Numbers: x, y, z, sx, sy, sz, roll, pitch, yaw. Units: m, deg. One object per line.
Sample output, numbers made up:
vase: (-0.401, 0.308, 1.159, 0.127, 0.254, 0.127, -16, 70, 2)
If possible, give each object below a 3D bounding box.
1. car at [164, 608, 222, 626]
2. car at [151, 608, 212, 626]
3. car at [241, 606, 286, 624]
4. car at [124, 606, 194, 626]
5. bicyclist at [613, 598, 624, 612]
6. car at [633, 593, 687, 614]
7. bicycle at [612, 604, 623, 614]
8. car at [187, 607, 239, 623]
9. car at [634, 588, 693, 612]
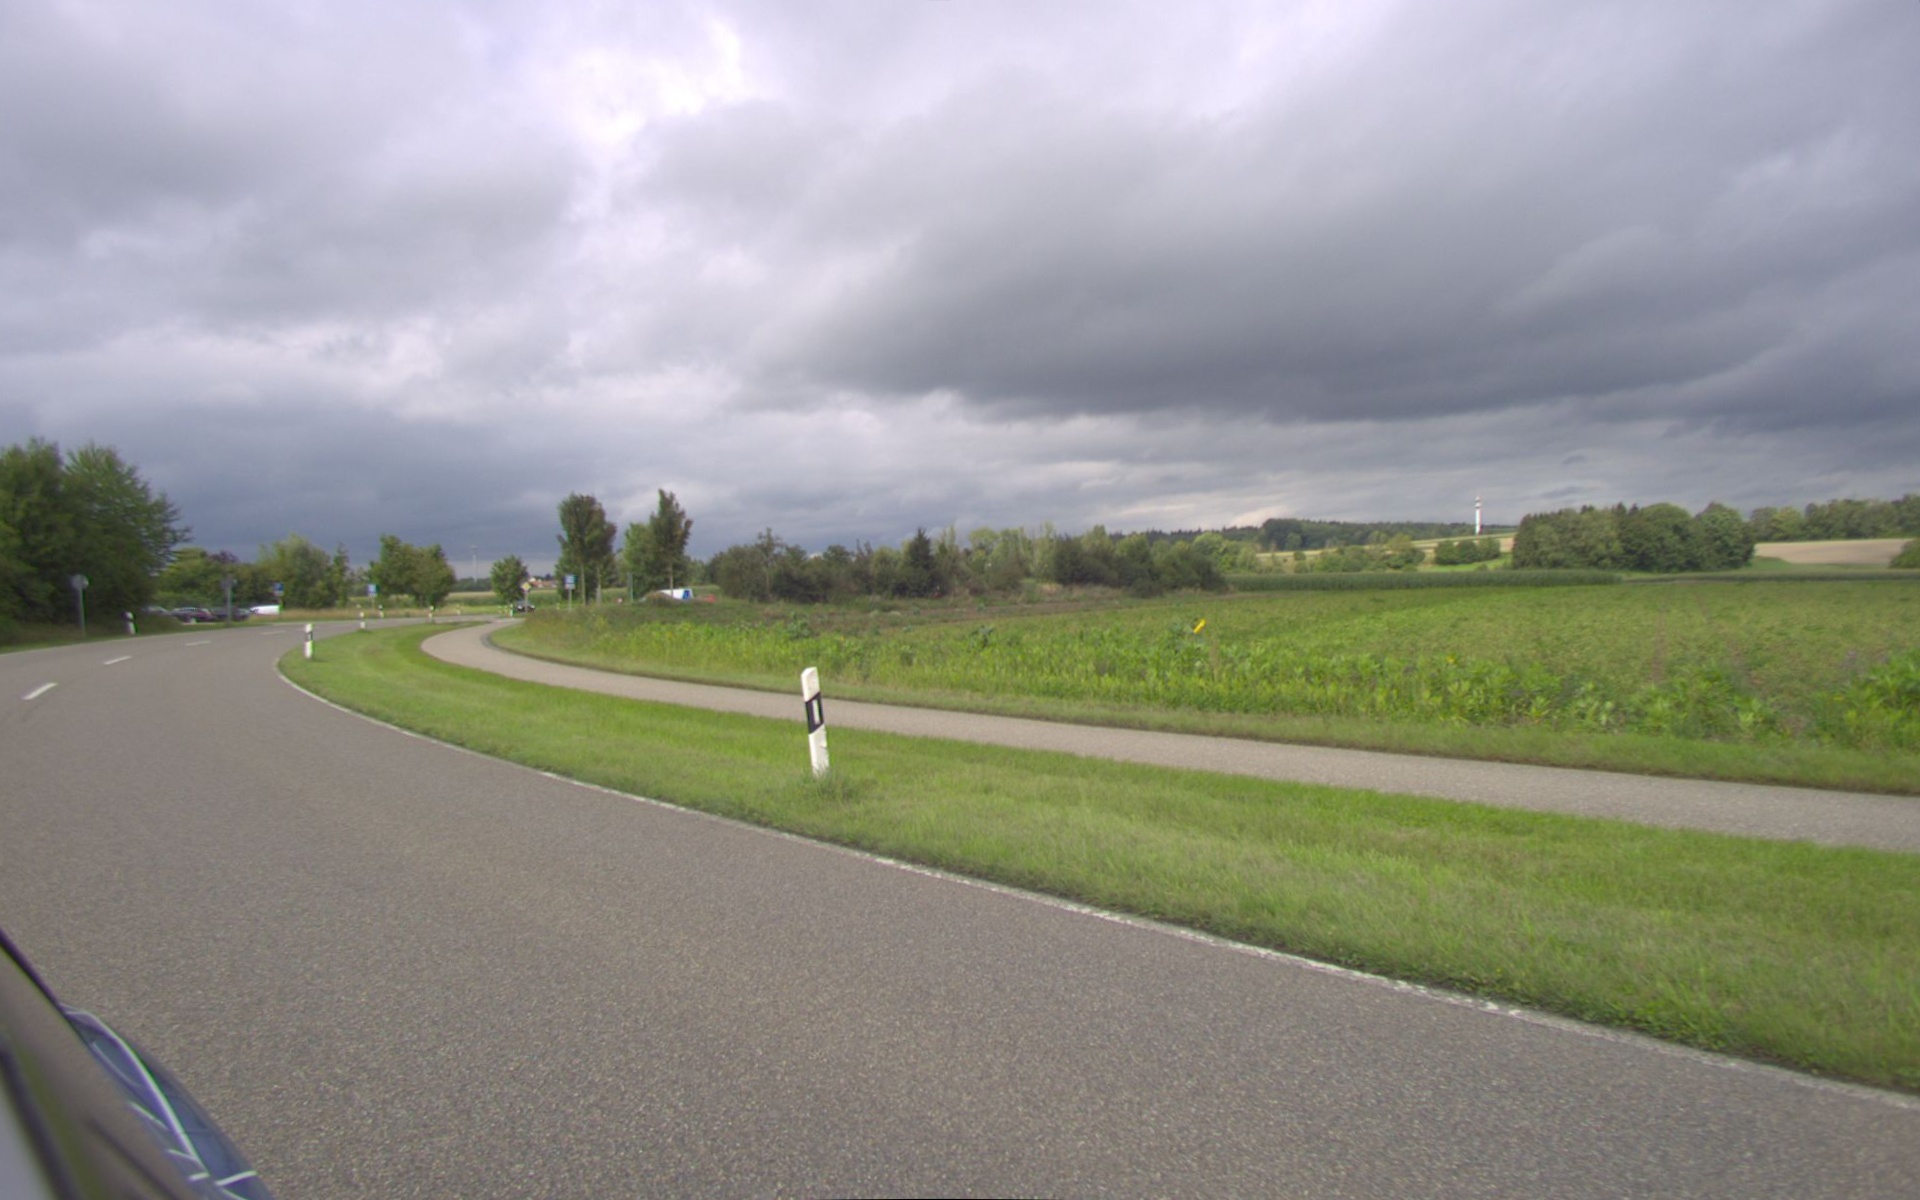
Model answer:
car: (-73.773, 1.631, 97.389, 3.941, 1.516, 2.058, -2, 1, -19)
car: (-72.356, 1.563, 94.152, 4.093, 1.424, 2.007, -2, 1, -25)
car: (-80.394, 1.704, 116.854, 3.931, 1.874, 2.007, -2, 1, -21)
car: (-70.105, 1.369, 88.605, 4.415, 1.593, 2.007, -2, 1, -25)
bicyclist: (-37.241, 0.538, 110.397, 0.821, 1.577, 1.056, -1, 0, -5)
car: (-25.782, 0.314, 87.013, 4.194, 1.607, 2.004, -2, 0, -8)
bicycle: (-37.259, 0.981, 110.142, 0.628, 1.040, 2.194, -1, 0, -7)
car: (-75.896, 1.514, 102.923, 3.931, 1.508, 2.007, -2, 1, -25)
car: (-26.873, -0.024, 91.884, 4.831, 2.029, 2.060, -2, 0, -9)
